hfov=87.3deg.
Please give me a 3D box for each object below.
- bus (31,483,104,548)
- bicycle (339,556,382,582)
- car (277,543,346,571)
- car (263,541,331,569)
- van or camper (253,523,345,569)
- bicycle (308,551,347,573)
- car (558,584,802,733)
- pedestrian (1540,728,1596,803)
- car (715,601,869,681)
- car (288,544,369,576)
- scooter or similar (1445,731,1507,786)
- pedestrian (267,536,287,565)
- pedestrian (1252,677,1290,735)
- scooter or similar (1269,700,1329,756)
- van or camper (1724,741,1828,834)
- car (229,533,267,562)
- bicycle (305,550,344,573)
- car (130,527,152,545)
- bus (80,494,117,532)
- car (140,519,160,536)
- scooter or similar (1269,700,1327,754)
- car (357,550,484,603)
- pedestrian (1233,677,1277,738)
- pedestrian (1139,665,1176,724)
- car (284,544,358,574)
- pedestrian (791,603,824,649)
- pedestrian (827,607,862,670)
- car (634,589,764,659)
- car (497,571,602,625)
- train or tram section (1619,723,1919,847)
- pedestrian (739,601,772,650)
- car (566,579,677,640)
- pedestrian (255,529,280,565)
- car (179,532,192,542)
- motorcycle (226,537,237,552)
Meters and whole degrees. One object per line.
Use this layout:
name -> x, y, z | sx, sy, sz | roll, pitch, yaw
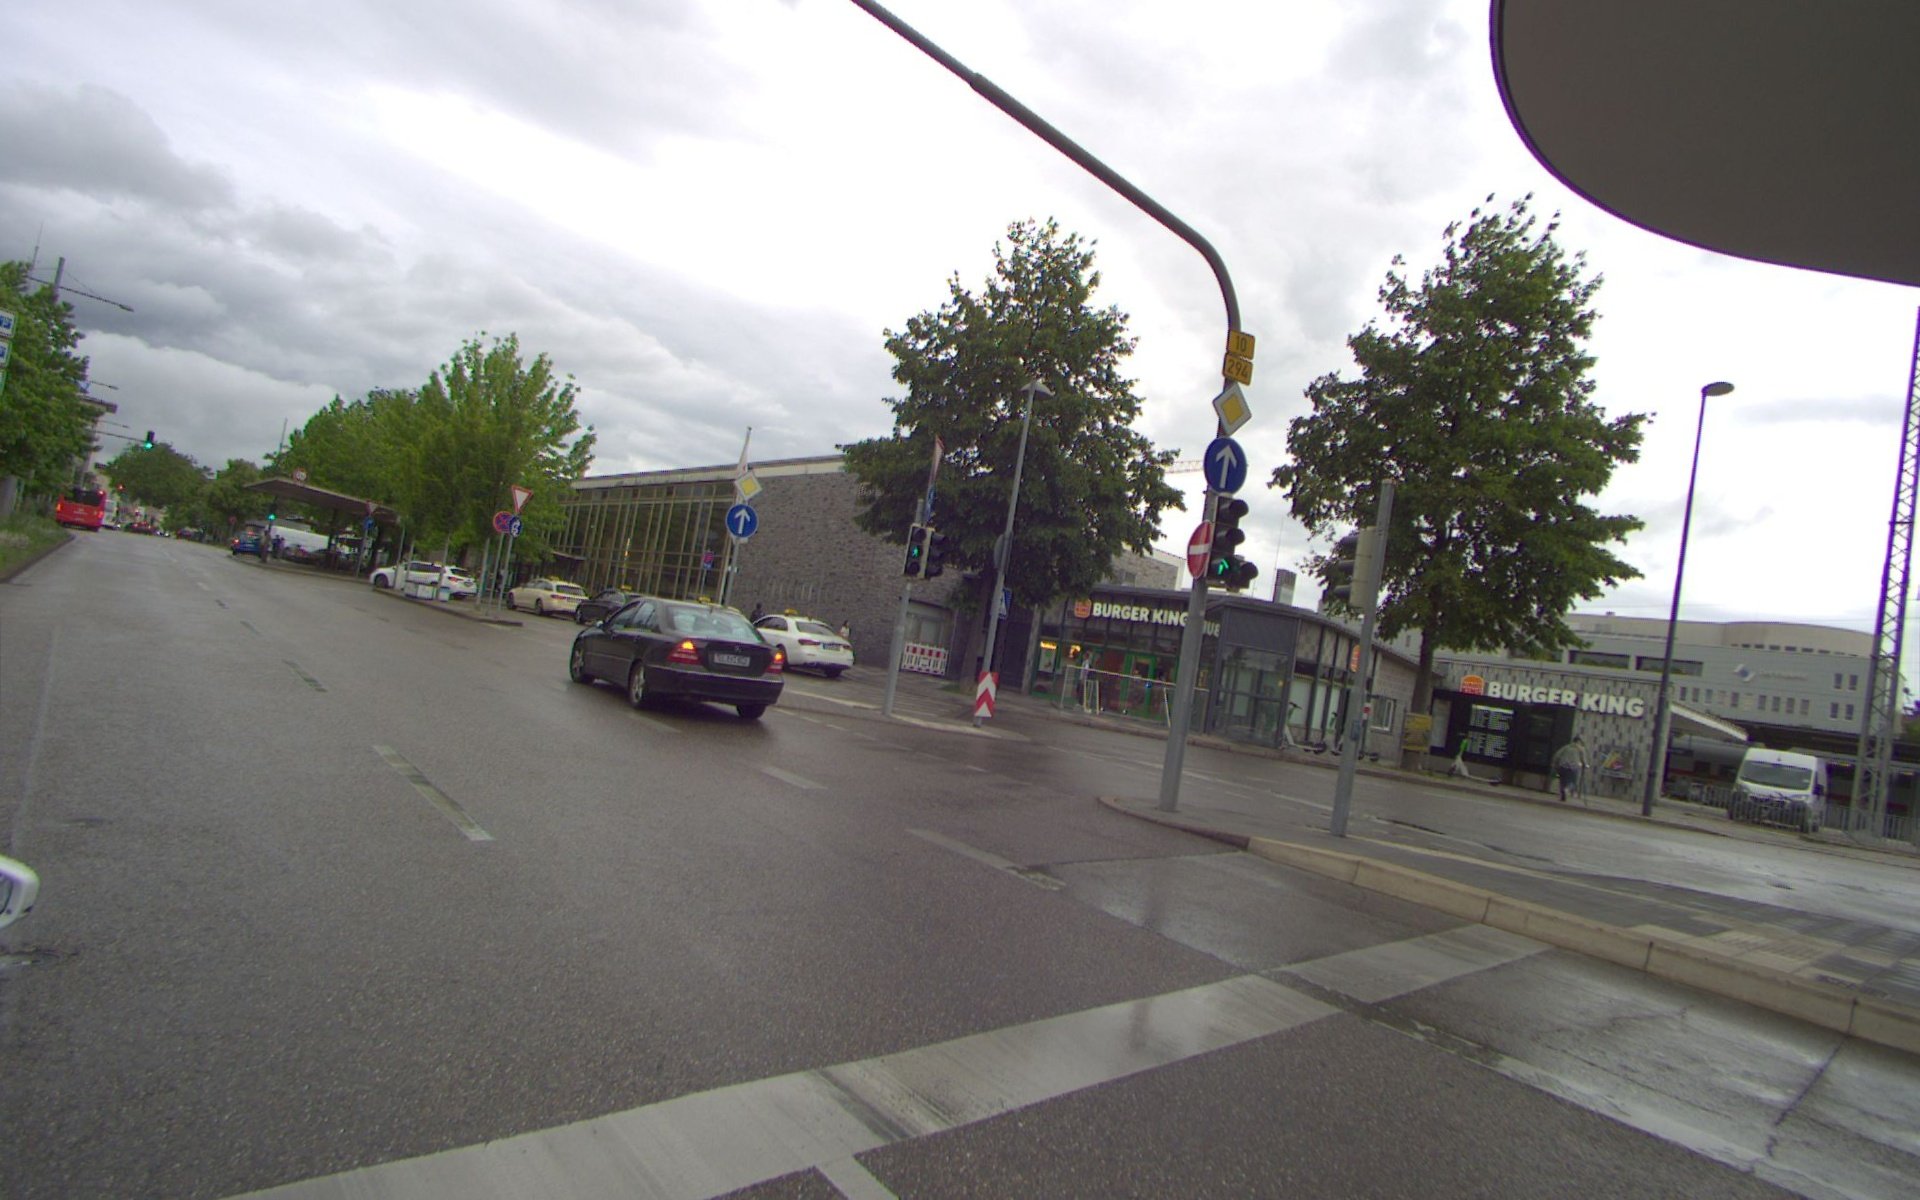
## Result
bus -> -67.714, -6.349, 76.425 | 3.534, 4.025, 11.042 | 8, -2, -41
bicycle -> -31.488, -1.635, 52.871 | 1.821, 1.068, 0.416 | 9, -2, -41
car -> -50.155, -3.300, 77.862 | 1.831, 1.458, 4.004 | 7, -4, 24
car -> -52.087, -3.513, 79.064 | 1.831, 1.458, 4.004 | 7, -4, 24
van or camper -> -55.204, -4.466, 84.195 | 2.159, 2.794, 5.969 | 7, -2, 23
bicycle -> -37.136, -2.225, 59.103 | 0.413, 1.068, 1.831 | 7, -2, 32
car -> -3.991, 0.705, 13.770 | 1.686, 1.482, 4.410 | 9, -2, -35
pedestrian -> 13.932, 3.783, 23.060 | 0.825, 1.547, 0.638 | 7, -1, 20
car -> -4.727, 1.070, 27.706 | 1.873, 1.618, 4.850 | 9, -2, -39
car -> -42.810, -2.693, 68.273 | 1.809, 1.339, 4.198 | 6, -4, 30
scooter or similar -> 13.260, 4.061, 25.872 | 1.279, 1.196, 0.334 | 7, -1, 17
pedestrian -> -46.637, -3.401, 68.683 | 0.853, 1.855, 1.177 | 9, -3, -40
pedestrian -> 9.694, 3.291, 31.366 | 0.709, 1.686, 0.798 | 7, -1, -2
scooter or similar -> 8.534, 3.211, 25.360 | 1.279, 1.196, 0.334 | 7, -1, 17
van or camper -> 27.203, 6.150, 33.426 | 2.137, 2.461, 5.838 | 6, -3, 43
car -> -48.025, -3.519, 67.835 | 1.850, 1.586, 3.962 | 10, -4, -36
bicycle -> -37.494, -2.262, 59.385 | 0.413, 1.068, 1.831 | 7, -2, 32
car -> -107.030, -8.406, 131.465 | 1.986, 2.037, 3.957 | 9, -2, -39
bus -> -97.824, -9.785, 114.177 | 2.795, 3.792, 10.324 | 6, -1, -42
car -> -115.819, -10.347, 143.786 | 1.986, 2.037, 3.957 | 9, -2, -39
scooter or similar -> 8.713, 3.258, 25.933 | 1.279, 1.196, 0.334 | 7, -1, 17
car -> -23.721, -1.012, 44.286 | 4.686, 1.563, 1.767 | 8, -2, 11
pedestrian -> 8.857, 3.232, 30.210 | 0.715, 1.686, 0.791 | 8, -1, -30
pedestrian -> 5.989, 2.848, 30.492 | 0.764, 1.687, 0.645 | 6, 0, 28
car -> -45.096, -2.891, 71.081 | 1.830, 1.373, 4.006 | 7, -3, 20
pedestrian -> -5.655, 0.969, 37.268 | 0.766, 1.598, 0.702 | 8, -1, -44
pedestrian -> -4.209, 1.424, 36.682 | 0.709, 2.189, 0.798 | 7, -1, 19
car -> -8.446, 0.726, 32.234 | 1.986, 1.618, 4.904 | 9, -2, -39
car -> -16.974, -0.122, 41.501 | 4.891, 1.618, 1.991 | 6, -2, 43
train or tram section -> 50.503, 10.512, 50.416 | 4.574, 4.230, 28.986 | 9, -2, -40
pedestrian -> -7.350, 0.922, 36.114 | 0.782, 1.645, 0.723 | 7, -1, 6
car -> -12.505, 0.306, 36.958 | 1.989, 1.617, 4.901 | 11, -3, -41
pedestrian -> -36.888, -2.816, 53.584 | 0.825, 1.766, 0.746 | 6, -2, 42
car -> -131.898, -10.736, 171.288 | 1.589, 1.578, 3.610 | 9, -2, -39
motorcycle -> -68.586, -5.211, 94.737 | 0.592, 1.303, 1.936 | 9, -2, -34
